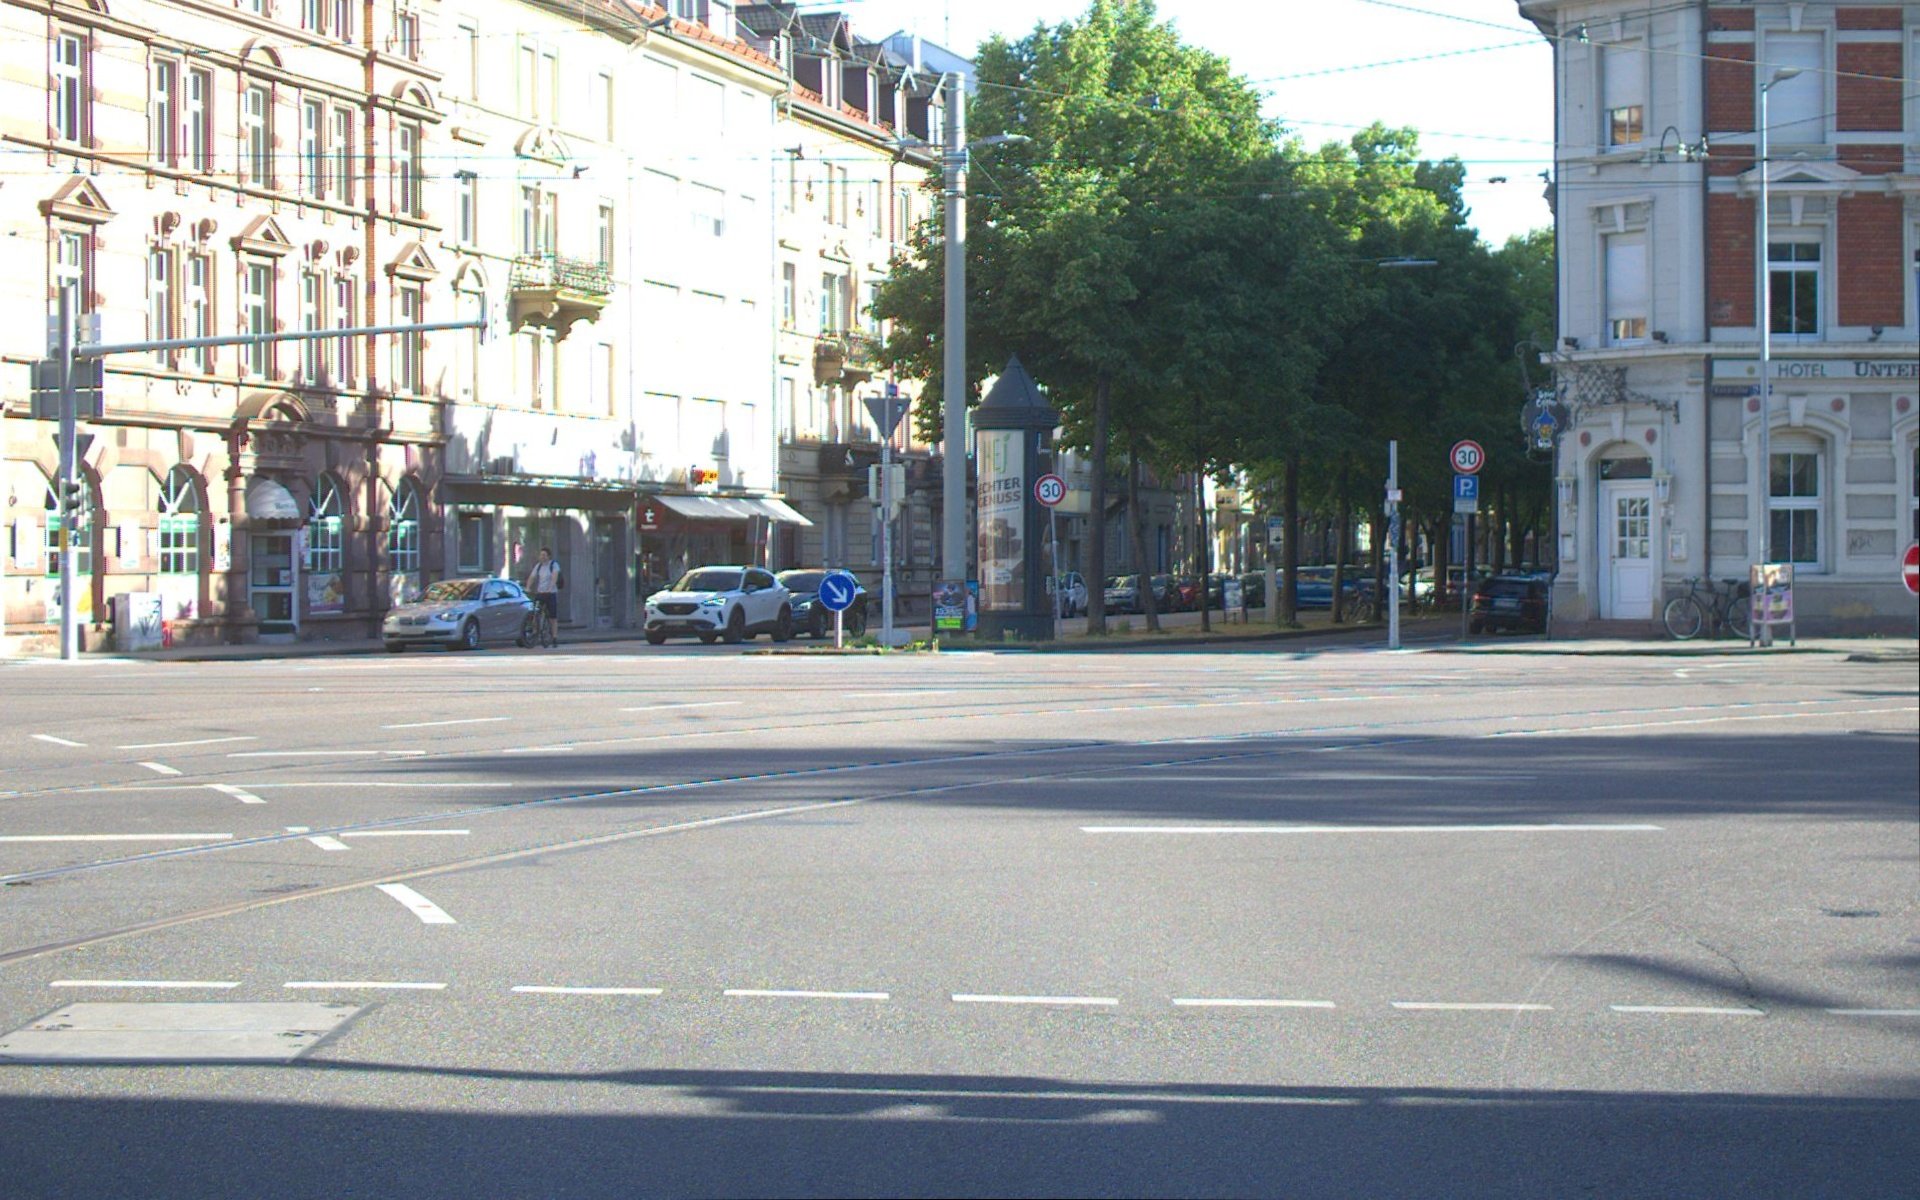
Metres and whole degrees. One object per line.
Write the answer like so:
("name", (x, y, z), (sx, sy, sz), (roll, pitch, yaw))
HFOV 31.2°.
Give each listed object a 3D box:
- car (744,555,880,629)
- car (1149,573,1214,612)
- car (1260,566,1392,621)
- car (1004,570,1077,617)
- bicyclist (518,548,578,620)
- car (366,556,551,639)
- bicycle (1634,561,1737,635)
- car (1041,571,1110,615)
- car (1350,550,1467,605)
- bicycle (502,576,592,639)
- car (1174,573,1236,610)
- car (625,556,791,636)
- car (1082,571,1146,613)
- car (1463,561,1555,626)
("car", (-3.130, -0.189, 73.540), (1.994, 1.508, 3.998), (0, 1, 12))
("car", (8.505, -0.311, 131.614), (1.742, 1.393, 4.121), (3, 1, 13))
("car", (12.289, -0.224, 115.233), (4.113, 1.640, 1.745), (3, 1, 15))
("car", (2.595, -0.214, 110.008), (1.741, 1.393, 4.122), (3, 1, 9))
("bicyclist", (-7.854, -0.313, 65.598), (0.794, 1.370, 1.107), (0, 1, 14))
("car", (-9.778, -0.070, 67.387), (2.098, 1.540, 4.361), (0, 1, 14))
("bicycle", (12.061, -0.032, 57.141), (1.639, 1.218, 0.606), (0, 1, 16))
("car", (3.919, -0.254, 115.813), (1.741, 1.393, 4.122), (3, 1, 9))
("car", (17.406, -0.875, 133.431), (4.115, 1.912, 1.744), (3, 1, 21))
("bicycle", (-7.868, 0.128, 65.635), (0.751, 1.131, 2.808), (0, 1, 14))
("car", (9.724, -0.346, 136.393), (1.742, 1.393, 4.121), (3, 1, 13))
("car", (-4.879, -0.102, 67.172), (2.098, 1.494, 3.998), (0, 1, 14))
("car", (5.505, -0.301, 122.790), (1.741, 1.393, 4.122), (3, 1, 9))
("car", (13.166, -0.154, 82.293), (1.652, 1.519, 3.750), (0, 0, 17))
